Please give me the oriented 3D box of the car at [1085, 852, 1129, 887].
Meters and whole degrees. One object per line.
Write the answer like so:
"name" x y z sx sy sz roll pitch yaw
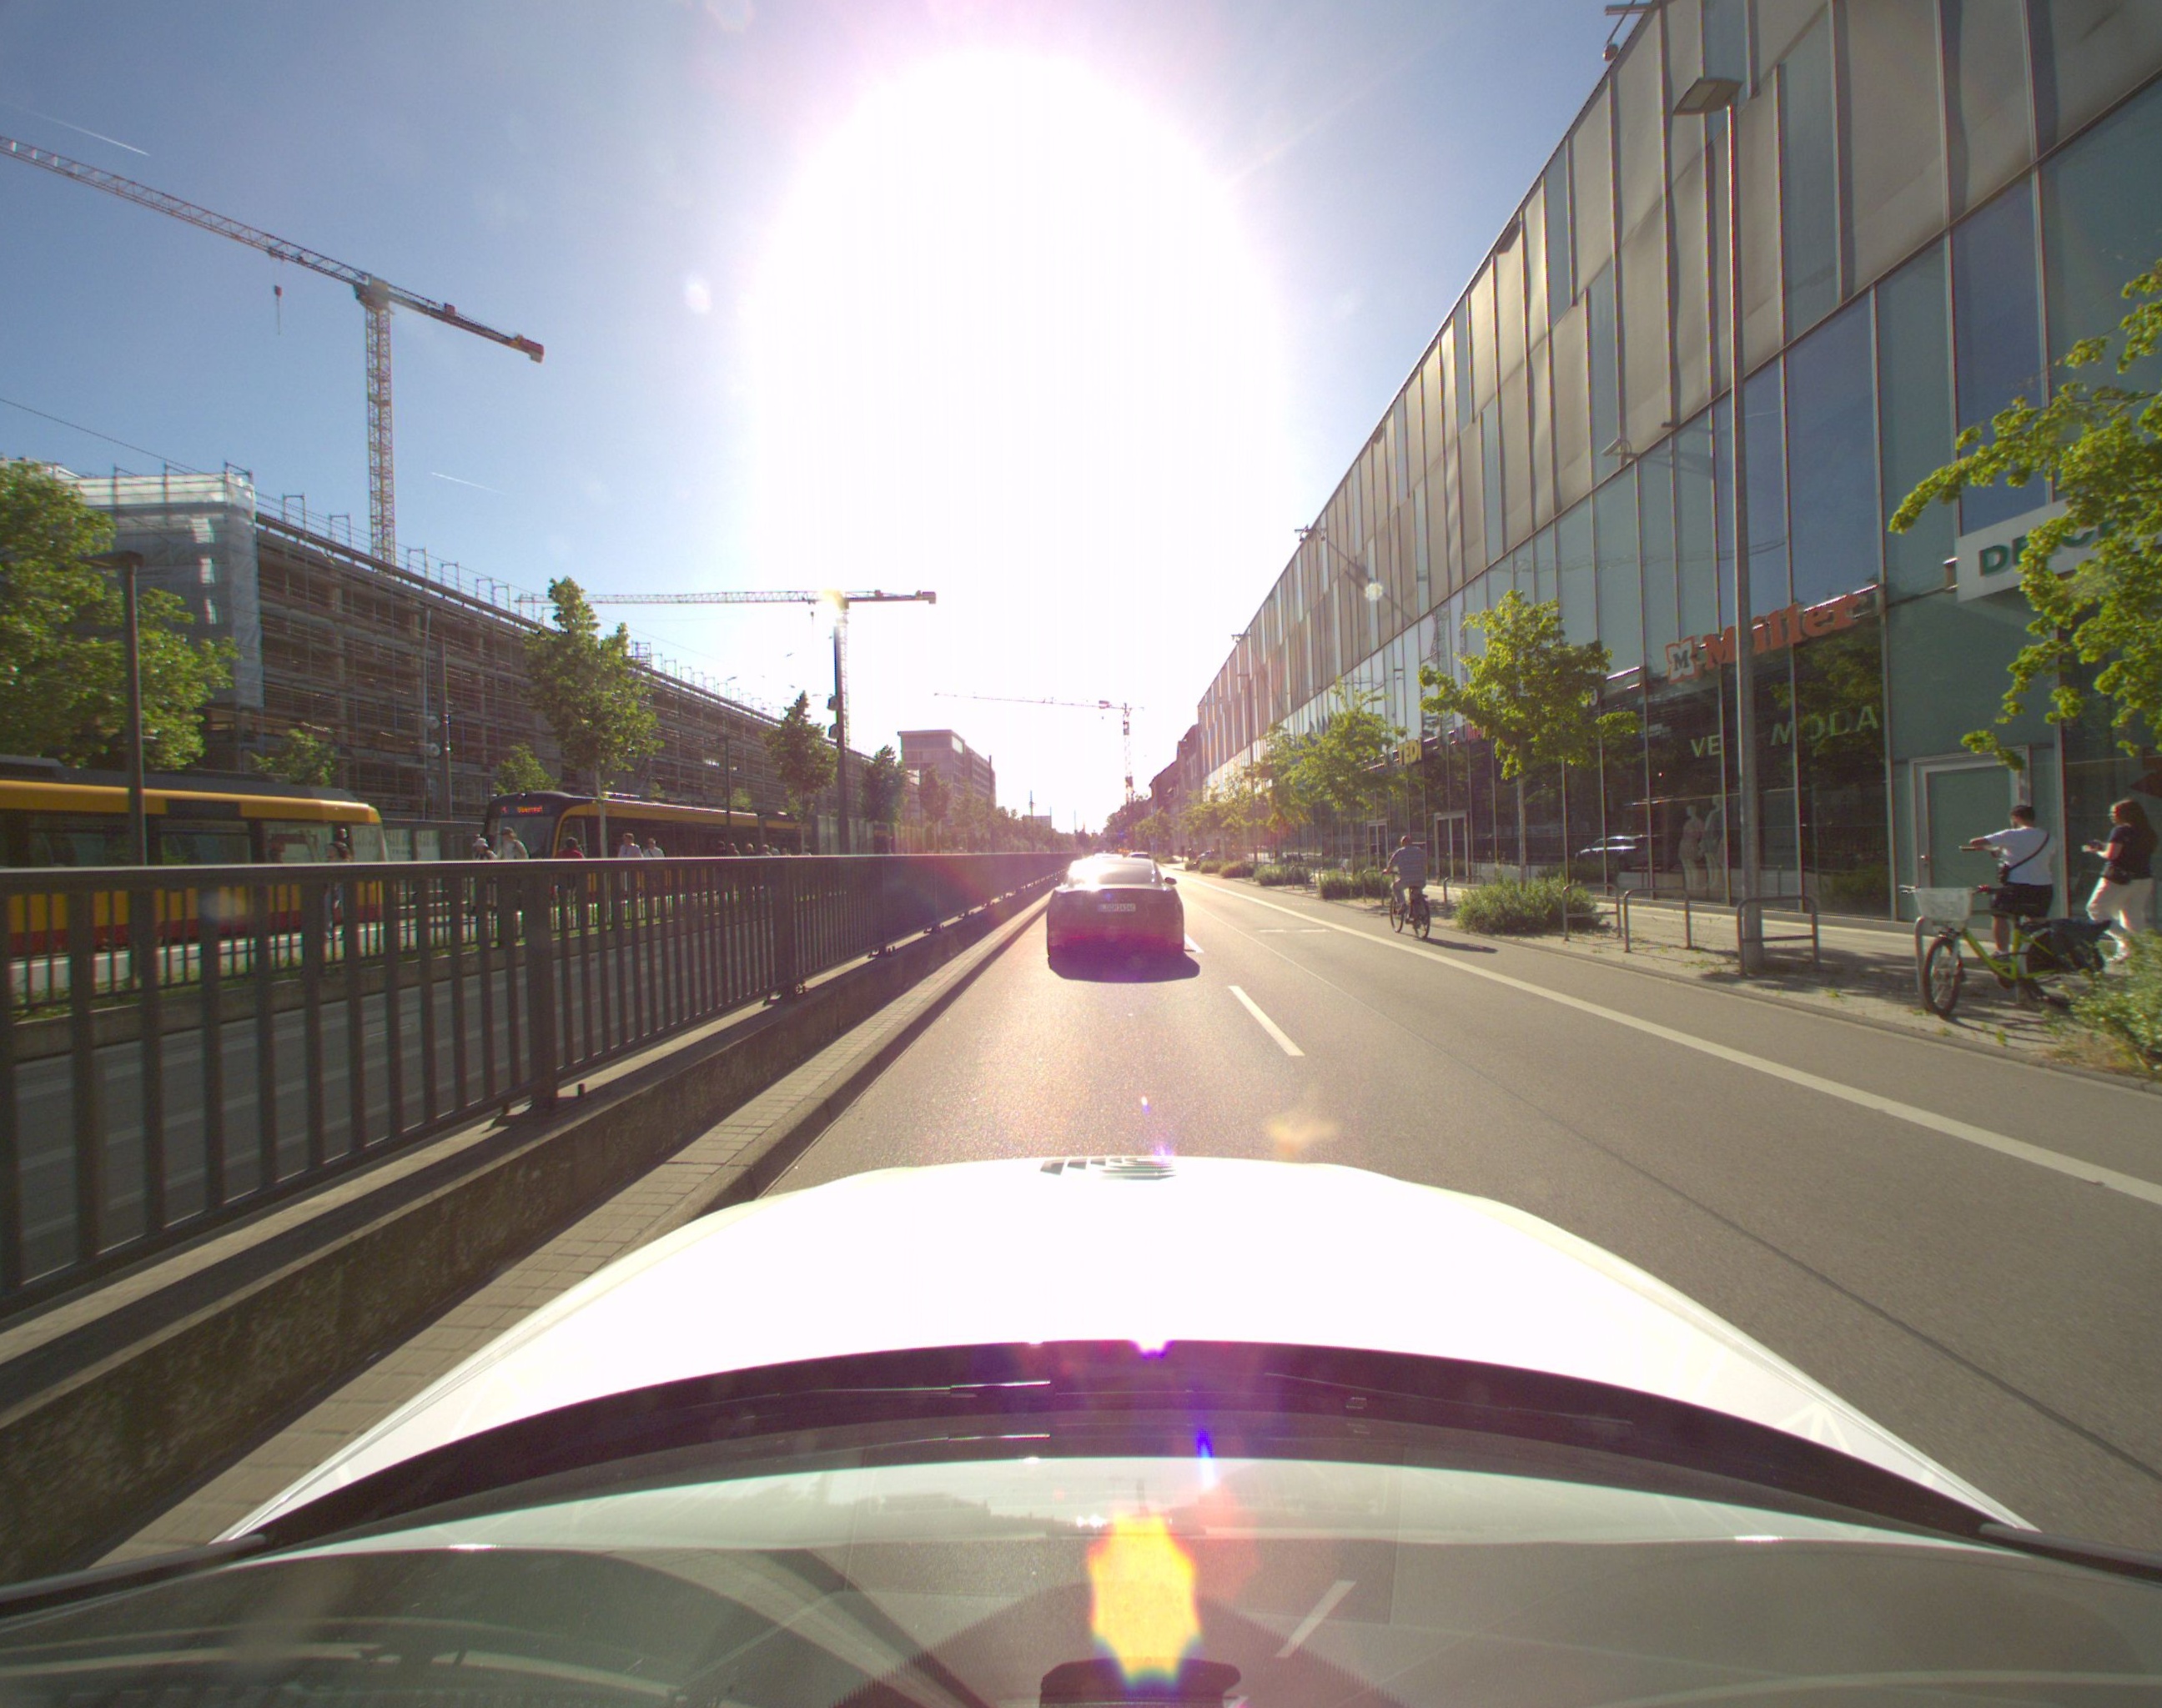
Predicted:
"car" 1.137 0.600 34.676 1.709 1.319 4.003 -2 1 3

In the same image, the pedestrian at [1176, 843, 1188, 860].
"pedestrian" 11.776 -0.279 95.099 1.091 1.863 1.523 -2 0 0

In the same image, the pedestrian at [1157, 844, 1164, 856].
"pedestrian" 12.416 -0.648 126.909 0.848 1.863 0.930 -2 0 0

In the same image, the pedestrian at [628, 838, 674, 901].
"pedestrian" -12.040 0.427 22.823 0.738 1.694 0.862 -2 0 3

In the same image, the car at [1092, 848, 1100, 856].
"car" 3.399 -0.440 184.905 1.806 1.809 4.042 -2 1 3

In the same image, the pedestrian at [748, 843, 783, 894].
"pedestrian" -10.383 0.467 26.793 0.738 1.628 0.862 -2 0 3

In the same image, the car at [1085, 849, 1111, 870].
"car" 1.438 0.463 68.475 1.879 1.596 4.005 -2 1 5

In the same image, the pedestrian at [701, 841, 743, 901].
"pedestrian" -10.046 0.464 22.820 0.738 1.628 0.862 -2 0 2

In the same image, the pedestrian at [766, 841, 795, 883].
"pedestrian" -12.016 0.306 32.572 0.738 1.628 0.862 -2 0 3

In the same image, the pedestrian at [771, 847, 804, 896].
"pedestrian" -10.051 0.589 27.951 0.738 1.628 0.862 -2 0 3

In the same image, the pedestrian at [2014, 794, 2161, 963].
"pedestrian" 10.801 0.237 8.633 0.704 1.658 0.899 -4 0 -3

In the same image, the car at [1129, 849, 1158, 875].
"car" 4.037 0.475 53.341 1.777 1.546 4.042 -2 1 3

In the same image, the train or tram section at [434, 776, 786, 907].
"train or tram section" -14.595 -0.374 28.038 2.859 3.279 15.191 0 0 2

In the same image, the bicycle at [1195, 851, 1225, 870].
"bicycle" 9.099 0.455 57.361 1.881 1.151 0.669 -4 0 -9

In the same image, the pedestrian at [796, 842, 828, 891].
"pedestrian" -9.244 0.424 28.032 0.738 1.628 0.862 -2 0 3

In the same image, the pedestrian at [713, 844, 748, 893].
"pedestrian" -12.025 0.479 27.958 0.738 1.628 0.862 -2 0 3

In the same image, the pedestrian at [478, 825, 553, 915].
"pedestrian" -11.841 0.319 17.080 0.767 1.810 1.031 -2 0 1

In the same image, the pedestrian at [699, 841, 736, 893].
"pedestrian" -11.627 0.416 26.076 0.738 1.628 0.862 -2 0 3

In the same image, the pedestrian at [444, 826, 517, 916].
"pedestrian" -12.597 0.336 17.111 0.669 1.810 1.075 -2 0 1

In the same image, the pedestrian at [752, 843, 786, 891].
"pedestrian" -11.015 0.451 28.755 0.738 1.628 0.948 -2 0 3

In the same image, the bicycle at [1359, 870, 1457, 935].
"bicycle" 5.747 0.820 14.488 0.726 0.983 2.331 -2 0 -2

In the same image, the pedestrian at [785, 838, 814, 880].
"pedestrian" -11.238 0.201 32.531 0.738 1.628 0.862 -2 0 3

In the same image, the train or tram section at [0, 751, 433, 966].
"train or tram section" -18.088 0.080 12.630 2.837 3.321 15.973 -1 0 2

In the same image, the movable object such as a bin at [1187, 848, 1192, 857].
"movable object such as a bin" 13.188 -0.177 99.111 0.556 1.169 0.563 0 0 5

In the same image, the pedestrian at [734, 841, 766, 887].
"pedestrian" -12.184 0.363 29.962 0.738 1.628 0.862 -2 0 3

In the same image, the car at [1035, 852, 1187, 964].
"car" 0.570 0.721 13.051 1.990 1.434 4.418 -1 0 4

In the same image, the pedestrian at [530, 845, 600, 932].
"pedestrian" -10.104 0.658 15.973 0.738 1.628 0.862 -2 0 3

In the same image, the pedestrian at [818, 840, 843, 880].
"pedestrian" -10.690 0.253 34.784 0.738 1.628 0.862 -2 0 3

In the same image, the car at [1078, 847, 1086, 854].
"car" 0.276 -0.961 222.271 1.987 1.684 4.000 0 0 1

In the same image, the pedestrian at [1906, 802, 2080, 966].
"pedestrian" 9.864 0.308 8.852 0.819 1.658 0.899 -3 0 -3

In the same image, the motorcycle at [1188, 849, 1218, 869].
"motorcycle" 9.322 0.360 61.999 2.054 1.353 0.656 -5 -1 24

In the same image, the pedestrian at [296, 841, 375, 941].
"pedestrian" -11.534 0.550 12.615 0.645 1.512 0.588 0 1 -1

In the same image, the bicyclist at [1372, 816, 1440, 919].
"bicyclist" 5.706 0.229 14.352 0.723 1.736 0.997 -2 0 -2

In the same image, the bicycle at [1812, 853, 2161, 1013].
"bicycle" 7.891 0.653 7.080 2.074 1.205 0.952 -3 0 8

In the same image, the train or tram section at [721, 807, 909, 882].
"train or tram section" -14.016 -0.490 46.770 2.859 3.279 22.153 0 0 2

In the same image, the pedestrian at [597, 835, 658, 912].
"pedestrian" -11.244 0.469 20.227 0.883 1.851 1.008 -2 0 2

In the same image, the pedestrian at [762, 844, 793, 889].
"pedestrian" -11.258 0.449 30.196 0.738 1.628 0.862 -2 0 3
